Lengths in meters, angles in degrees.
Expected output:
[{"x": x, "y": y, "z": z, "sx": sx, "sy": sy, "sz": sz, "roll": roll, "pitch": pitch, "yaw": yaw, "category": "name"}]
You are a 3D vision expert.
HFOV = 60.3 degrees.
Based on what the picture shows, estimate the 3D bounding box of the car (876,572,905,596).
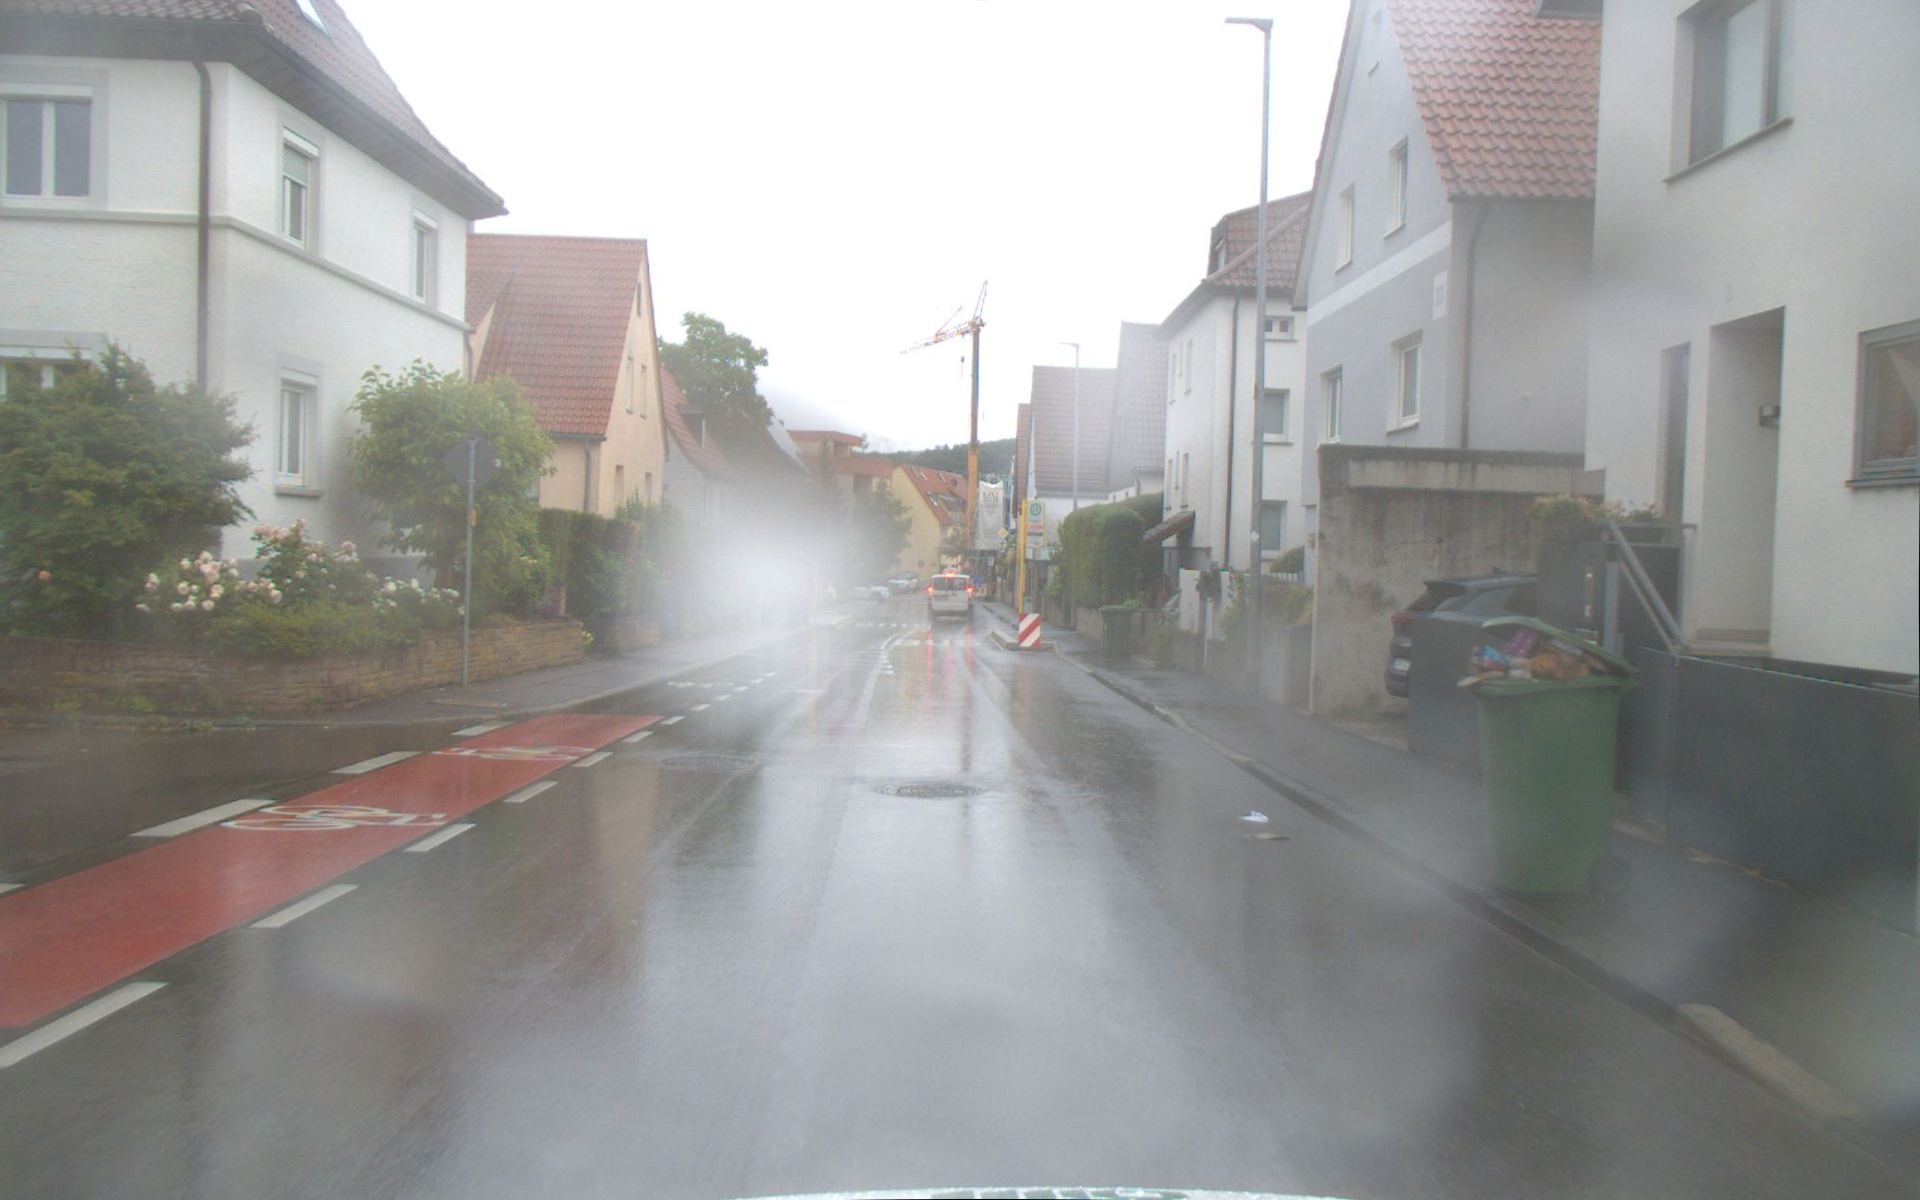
[{"x": -5.491, "y": -1.316, "z": 130.931, "sx": 1.803, "sy": 1.605, "sz": 4.293, "roll": 3, "pitch": 3, "yaw": 4, "category": "car"}]

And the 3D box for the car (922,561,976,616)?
[{"x": -0.457, "y": -0.505, "z": 67.872, "sx": 2.074, "sy": 1.920, "sz": 4.503, "roll": 3, "pitch": 3, "yaw": -1, "category": "car"}]

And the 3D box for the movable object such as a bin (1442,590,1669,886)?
[{"x": 2.853, "y": 0.634, "z": 8.011, "sx": 0.730, "sy": 1.301, "sz": 0.882, "roll": 1, "pitch": 3, "yaw": -1, "category": "movable object such as a bin"}]

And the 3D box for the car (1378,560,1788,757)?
[{"x": 5.932, "y": 0.526, "z": 15.985, "sx": 3.306, "sy": 1.589, "sz": 1.515, "roll": 3, "pitch": 3, "yaw": -2, "category": "car"}]

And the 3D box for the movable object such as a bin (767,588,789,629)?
[{"x": -6.198, "y": 0.283, "z": 56.233, "sx": 0.669, "sy": 1.345, "sz": 0.639, "roll": 3, "pitch": 3, "yaw": -6, "category": "movable object such as a bin"}]

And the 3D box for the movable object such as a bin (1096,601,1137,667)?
[{"x": 3.310, "y": 0.714, "z": 35.093, "sx": 0.769, "sy": 1.299, "sz": 0.714, "roll": 3, "pitch": 3, "yaw": 3, "category": "movable object such as a bin"}]

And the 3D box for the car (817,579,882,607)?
[{"x": -7.647, "y": -0.501, "z": 114.993, "sx": 4.186, "sy": 1.605, "sz": 1.849, "roll": 3, "pitch": 3, "yaw": 5, "category": "car"}]

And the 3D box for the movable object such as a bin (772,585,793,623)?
[{"x": -6.148, "y": 0.144, "z": 57.187, "sx": 0.669, "sy": 1.244, "sz": 0.639, "roll": 3, "pitch": 3, "yaw": -6, "category": "movable object such as a bin"}]
